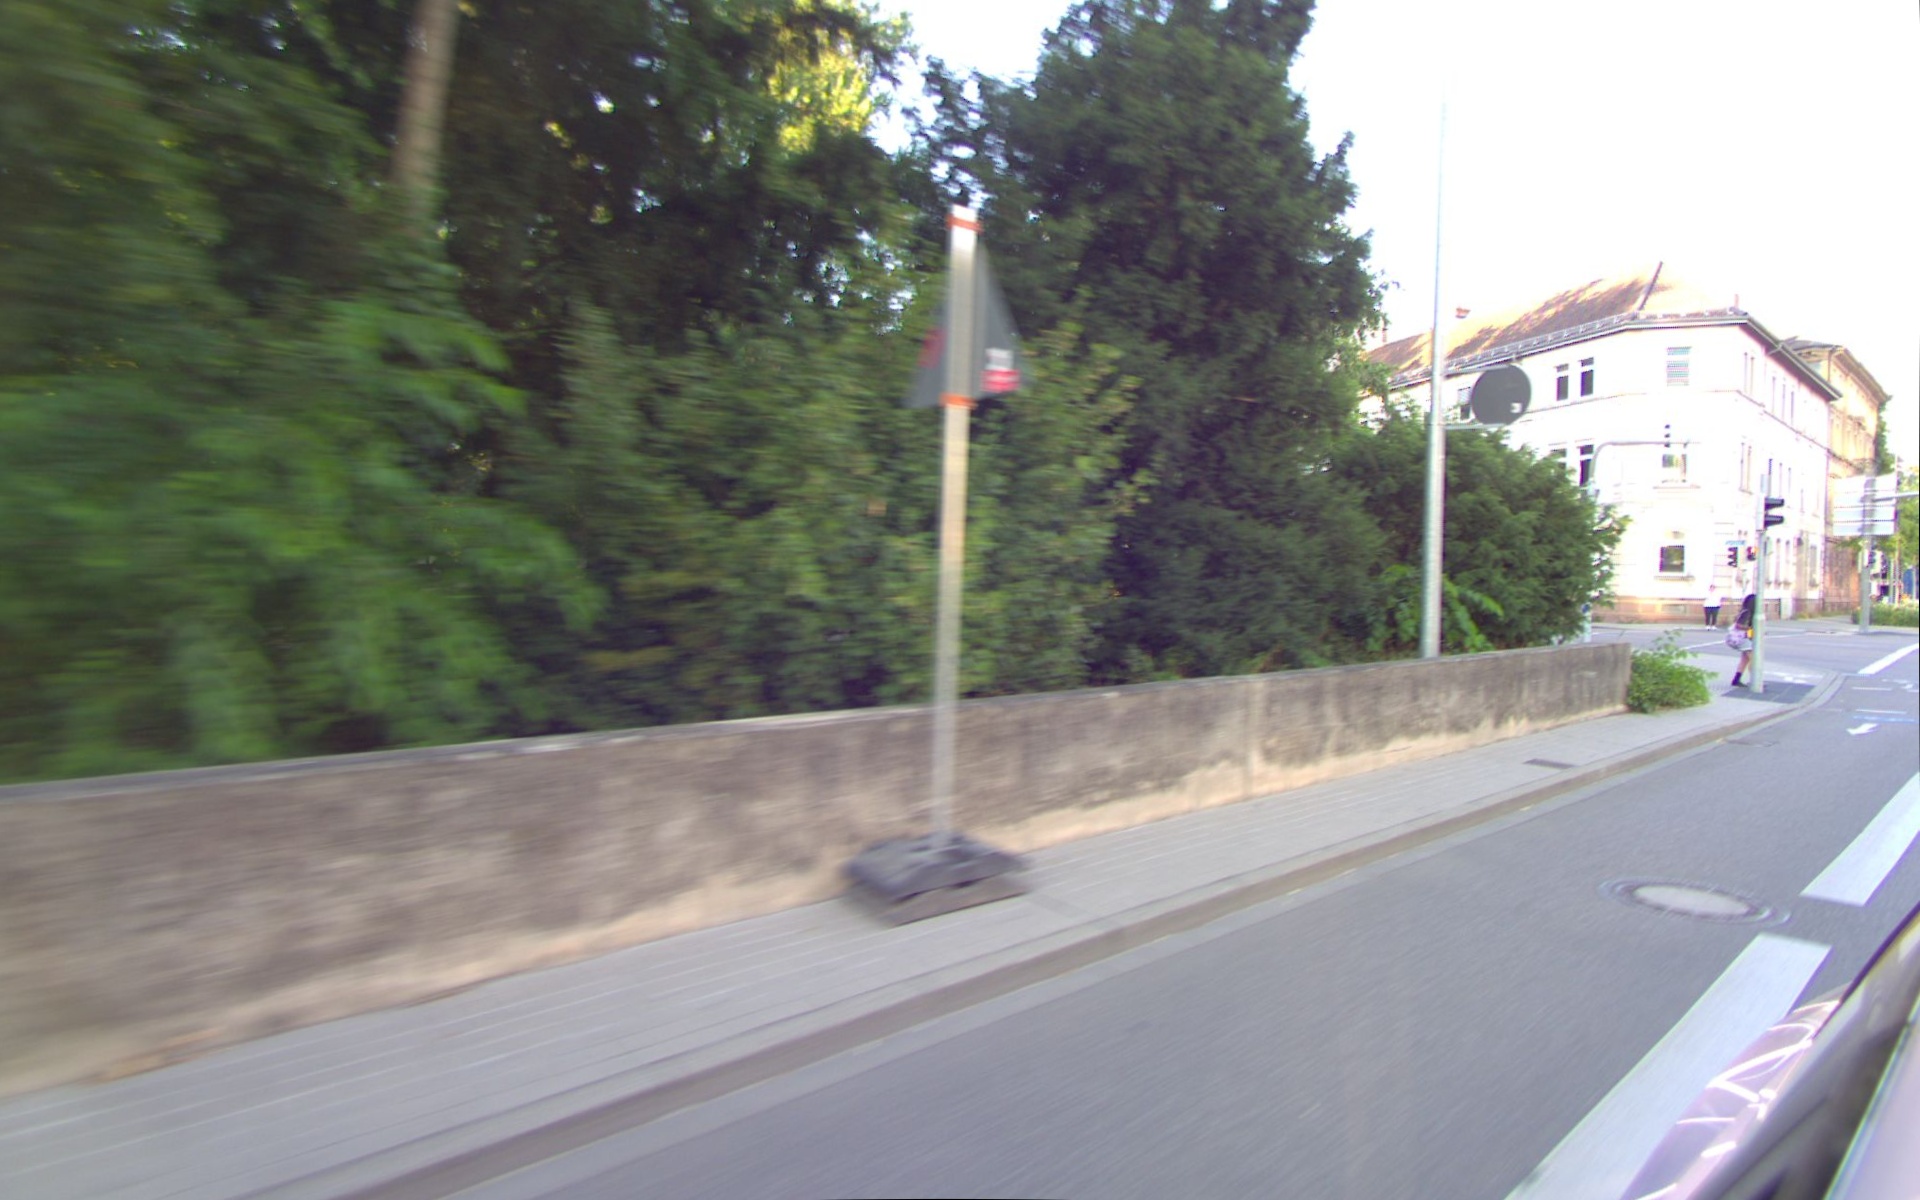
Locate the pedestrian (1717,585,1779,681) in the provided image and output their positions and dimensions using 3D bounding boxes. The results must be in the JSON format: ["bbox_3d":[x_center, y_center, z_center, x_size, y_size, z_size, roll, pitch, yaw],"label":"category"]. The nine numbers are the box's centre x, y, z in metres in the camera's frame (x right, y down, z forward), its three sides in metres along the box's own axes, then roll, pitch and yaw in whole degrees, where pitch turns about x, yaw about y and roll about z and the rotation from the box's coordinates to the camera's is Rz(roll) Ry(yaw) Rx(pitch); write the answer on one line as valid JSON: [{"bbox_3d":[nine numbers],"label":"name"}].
[{"bbox_3d":[13.017,0.534,16.717,0.607,1.522,0.581,0,3,-35],"label":"pedestrian"}]

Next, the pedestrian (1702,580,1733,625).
[{"bbox_3d":[28.727,0.085,38.371,0.812,1.677,0.630,2,1,30],"label":"pedestrian"}]
